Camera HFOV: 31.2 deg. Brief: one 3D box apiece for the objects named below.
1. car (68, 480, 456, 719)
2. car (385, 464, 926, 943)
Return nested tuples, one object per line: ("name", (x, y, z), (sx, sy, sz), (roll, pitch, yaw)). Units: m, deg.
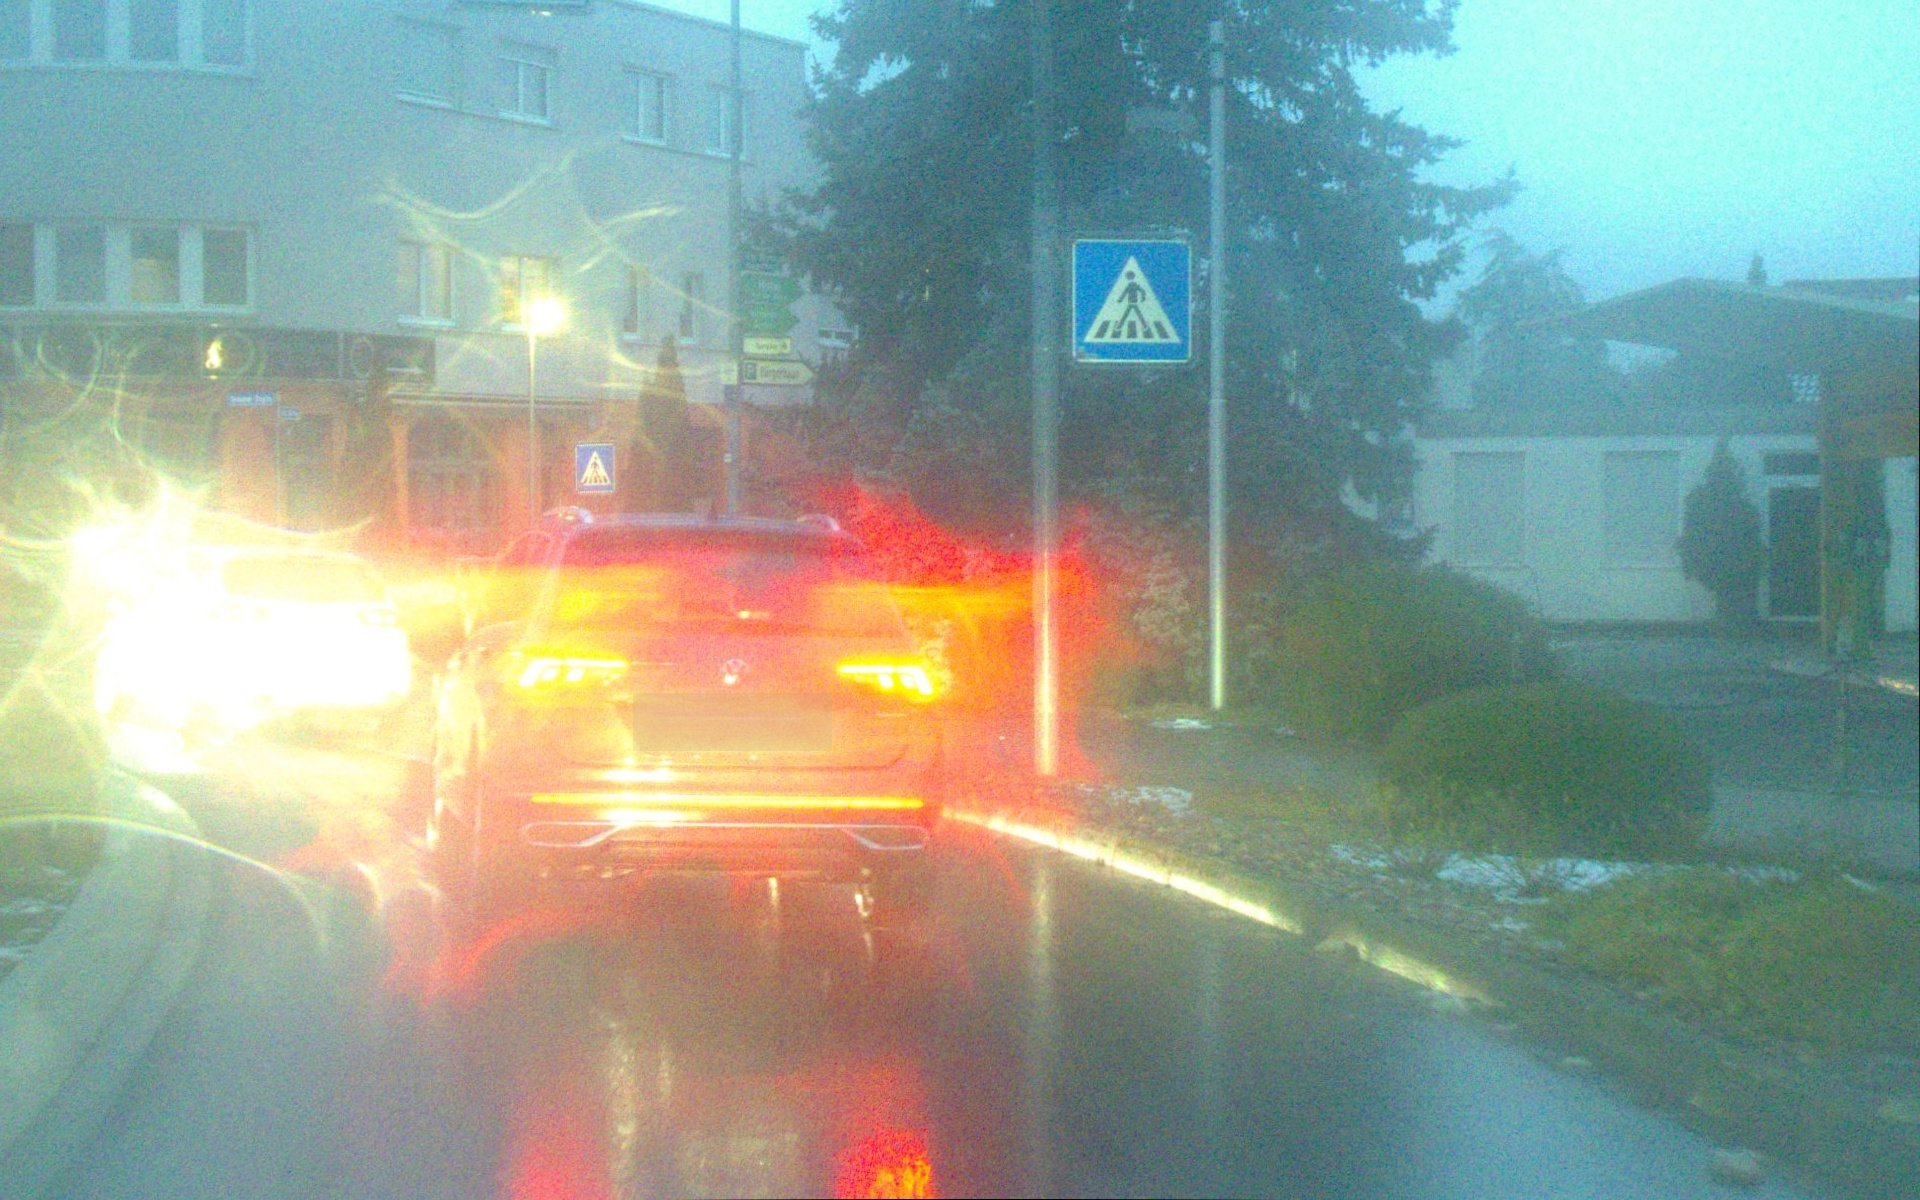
("car", (-5.699, -0.080, 27.593), (2.163, 1.683, 4.573), (0, 3, -23))
("car", (-1.418, 0.296, 14.402), (1.944, 1.712, 4.001), (0, 2, -10))
